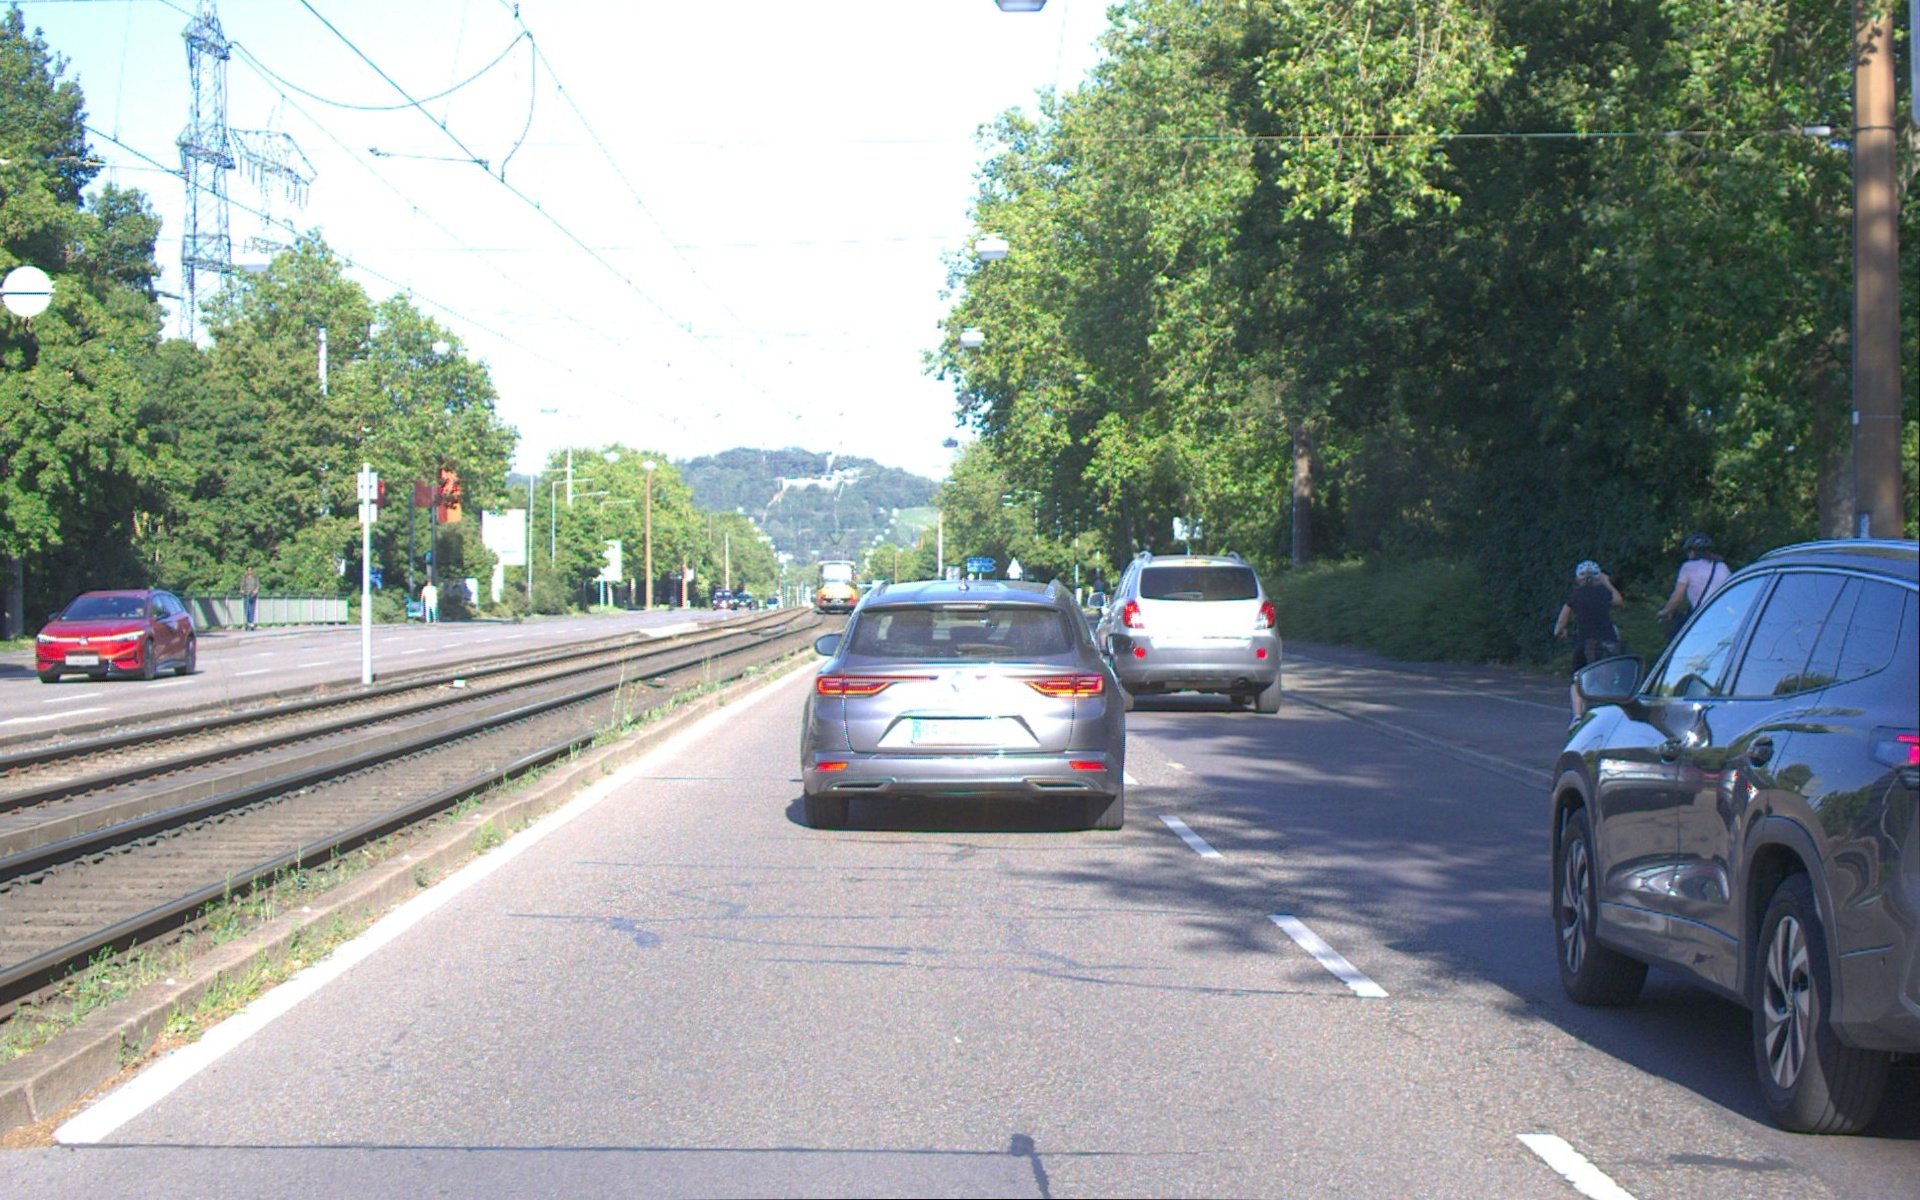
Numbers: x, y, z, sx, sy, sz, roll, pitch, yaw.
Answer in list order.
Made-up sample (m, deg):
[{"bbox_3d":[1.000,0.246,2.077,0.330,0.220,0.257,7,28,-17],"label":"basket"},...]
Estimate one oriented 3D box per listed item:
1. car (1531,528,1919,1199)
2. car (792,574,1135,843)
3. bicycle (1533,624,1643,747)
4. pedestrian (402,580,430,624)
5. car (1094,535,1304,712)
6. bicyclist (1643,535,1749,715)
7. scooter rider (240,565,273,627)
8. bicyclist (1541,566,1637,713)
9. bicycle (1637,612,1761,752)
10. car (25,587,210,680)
[{"bbox_3d":[3.094,0.664,10.504,1.844,1.655,4.440,1,0,-1],"label":"car"},{"bbox_3d":[0.005,0.590,21.137,1.866,1.462,4.666,0,0,0],"label":"car"},{"bbox_3d":[5.326,0.715,29.217,0.565,0.971,1.788,-1,1,-1],"label":"bicycle"},{"bbox_3d":[-22.207,0.087,140.444,0.725,1.750,0.834,2,-1,21],"label":"pedestrian"},{"bbox_3d":[2.594,0.215,38.200,1.883,1.789,4.000,2,1,-2],"label":"car"},{"bbox_3d":[6.255,0.203,29.261,0.685,1.503,0.891,0,1,-1],"label":"bicyclist"},{"bbox_3d":[-21.045,-0.125,102.838,0.682,1.842,1.000,-1,0,7],"label":"scooter rider"},{"bbox_3d":[5.330,0.326,29.175,0.641,1.222,0.891,0,1,-1],"label":"bicyclist"},{"bbox_3d":[6.267,0.675,29.218,0.622,1.116,1.813,-1,1,-1],"label":"bicycle"},{"bbox_3d":[-14.533,0.550,59.562,2.039,1.498,4.888,0,1,0],"label":"car"}]
